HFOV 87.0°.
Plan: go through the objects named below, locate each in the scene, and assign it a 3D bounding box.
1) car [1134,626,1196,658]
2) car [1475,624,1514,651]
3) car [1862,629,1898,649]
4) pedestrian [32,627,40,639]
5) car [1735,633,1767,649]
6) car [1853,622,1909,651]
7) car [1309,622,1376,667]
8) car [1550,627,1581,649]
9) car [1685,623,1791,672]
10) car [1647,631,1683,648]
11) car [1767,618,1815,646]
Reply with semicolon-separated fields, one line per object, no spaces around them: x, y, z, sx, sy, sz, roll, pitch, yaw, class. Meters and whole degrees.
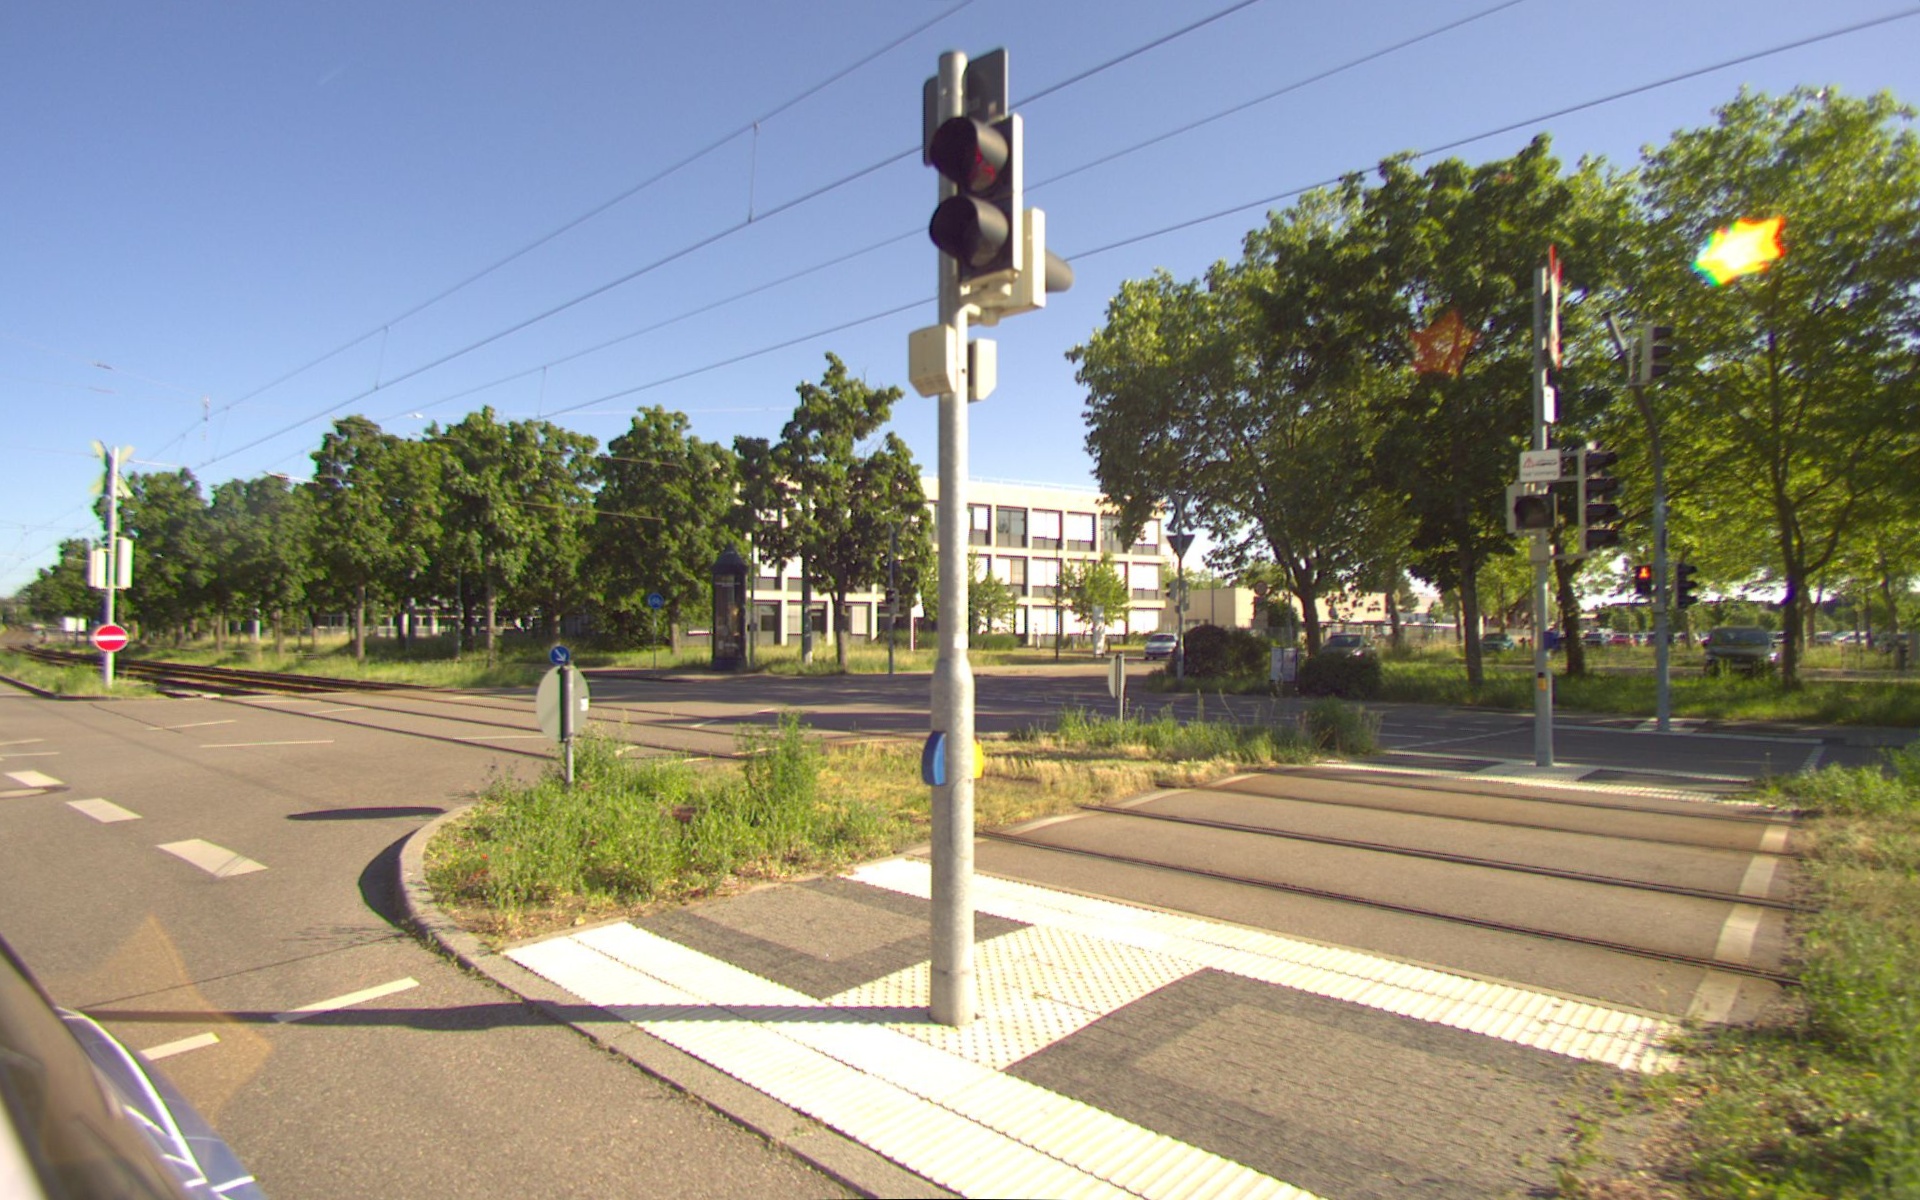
11.166;2.281;54.895;1.982;1.652;4.385;-1;-2;30;car
34.352;2.390;65.015;1.826;1.681;3.954;-1;-2;33;car
76.581;3.217;84.242;3.939;1.618;1.833;1;-2;-43;car
-134.321;4.827;147.081;0.775;1.765;0.782;1;-2;-45;pedestrian
80.077;4.171;102.462;1.991;1.561;4.366;-2;-3;45;car
55.058;2.140;60.553;1.826;1.681;3.954;-1;-2;33;car
15.076;1.715;39.767;1.824;1.681;3.959;-1;-2;30;car
46.044;2.838;76.904;1.826;1.618;3.954;-1;-2;33;car
23.536;1.437;30.775;1.864;1.392;3.961;-1;-3;28;car
65.853;3.646;94.507;1.978;1.561;4.366;-2;-3;45;car
51.790;1.963;63.131;1.826;1.681;3.954;-1;-2;33;car
